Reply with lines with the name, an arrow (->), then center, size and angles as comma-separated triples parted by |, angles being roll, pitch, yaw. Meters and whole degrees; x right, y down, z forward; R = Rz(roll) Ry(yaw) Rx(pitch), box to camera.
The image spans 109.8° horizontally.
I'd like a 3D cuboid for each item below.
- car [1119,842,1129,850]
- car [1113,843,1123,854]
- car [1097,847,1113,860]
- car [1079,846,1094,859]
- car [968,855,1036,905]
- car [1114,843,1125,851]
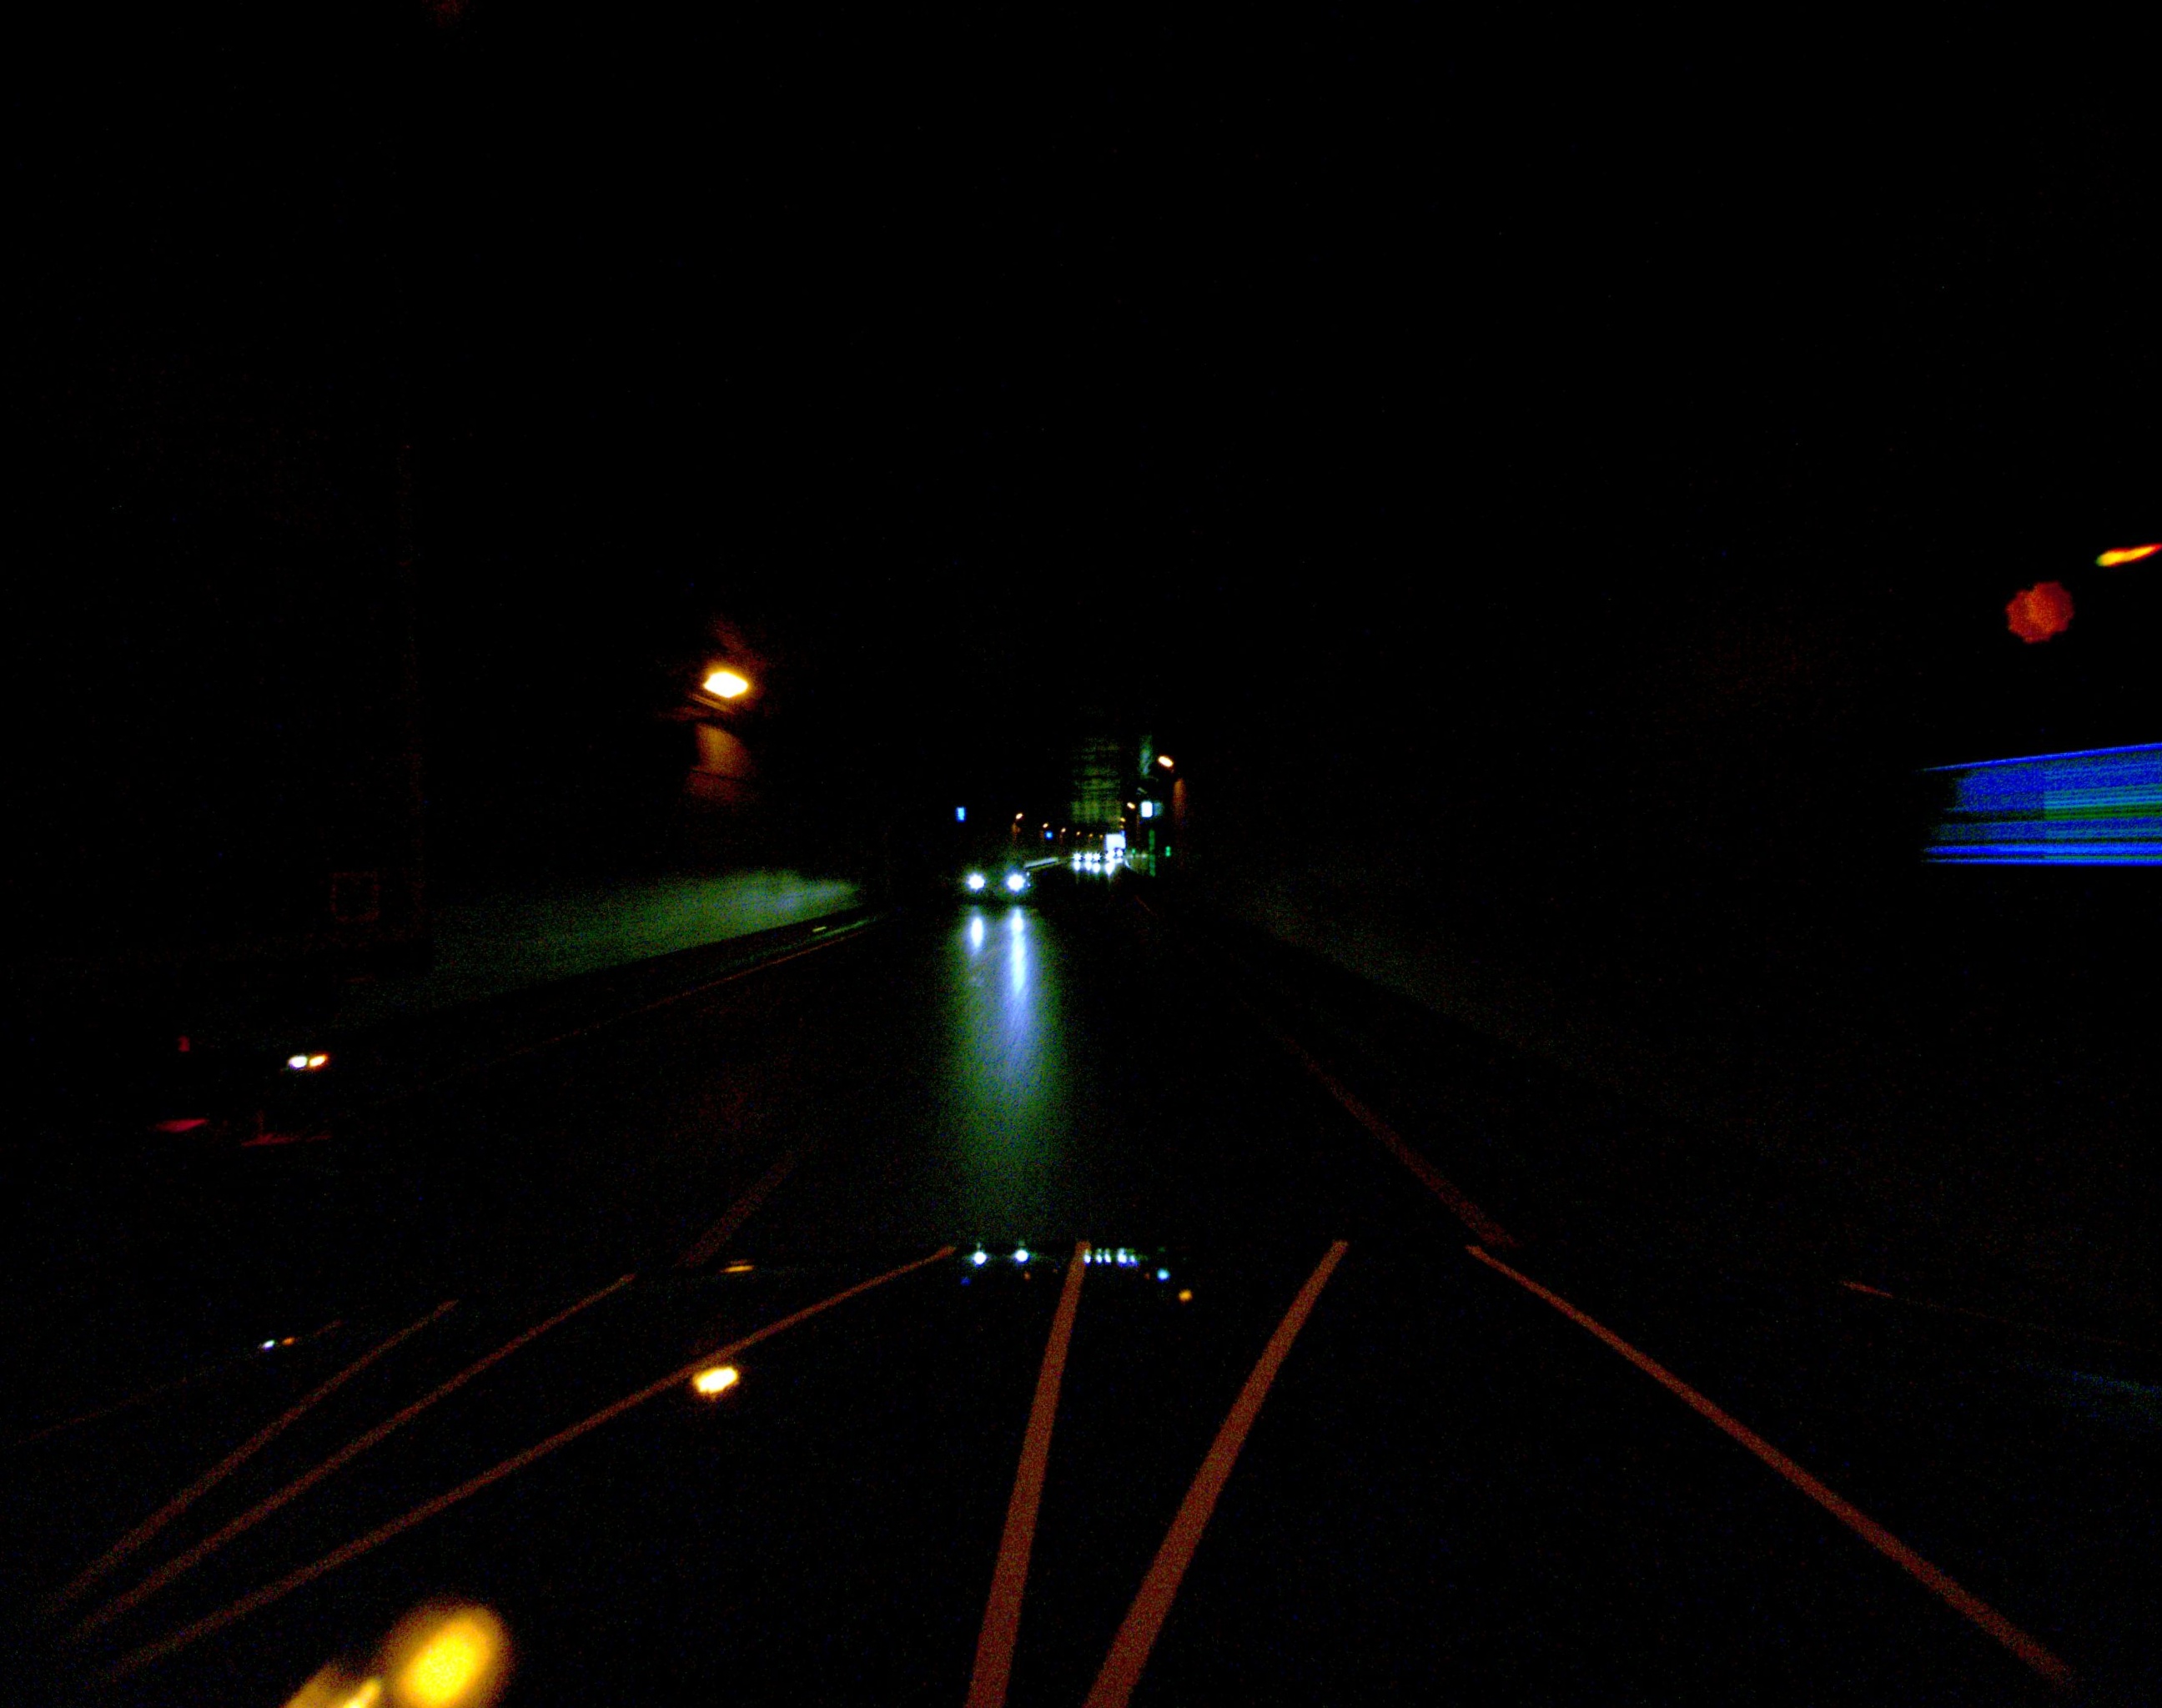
car -> 9.507, -1.821, 166.851 | 1.810, 1.576, 4.002 | -3, 1, 8
car -> 6.520, -1.016, 133.612 | 1.714, 1.729, 4.000 | -2, 2, 4
car -> 2.971, -0.076, 93.757 | 1.819, 1.589, 4.001 | 0, 1, 4
car -> 0.760, -0.222, 105.419 | 1.735, 1.565, 4.001 | -3, 1, 4
car -> -2.521, 0.792, 25.045 | 1.735, 1.395, 3.798 | -2, 1, 0
car -> 9.564, -1.815, 188.117 | 1.997, 1.903, 4.002 | -2, 1, 10
